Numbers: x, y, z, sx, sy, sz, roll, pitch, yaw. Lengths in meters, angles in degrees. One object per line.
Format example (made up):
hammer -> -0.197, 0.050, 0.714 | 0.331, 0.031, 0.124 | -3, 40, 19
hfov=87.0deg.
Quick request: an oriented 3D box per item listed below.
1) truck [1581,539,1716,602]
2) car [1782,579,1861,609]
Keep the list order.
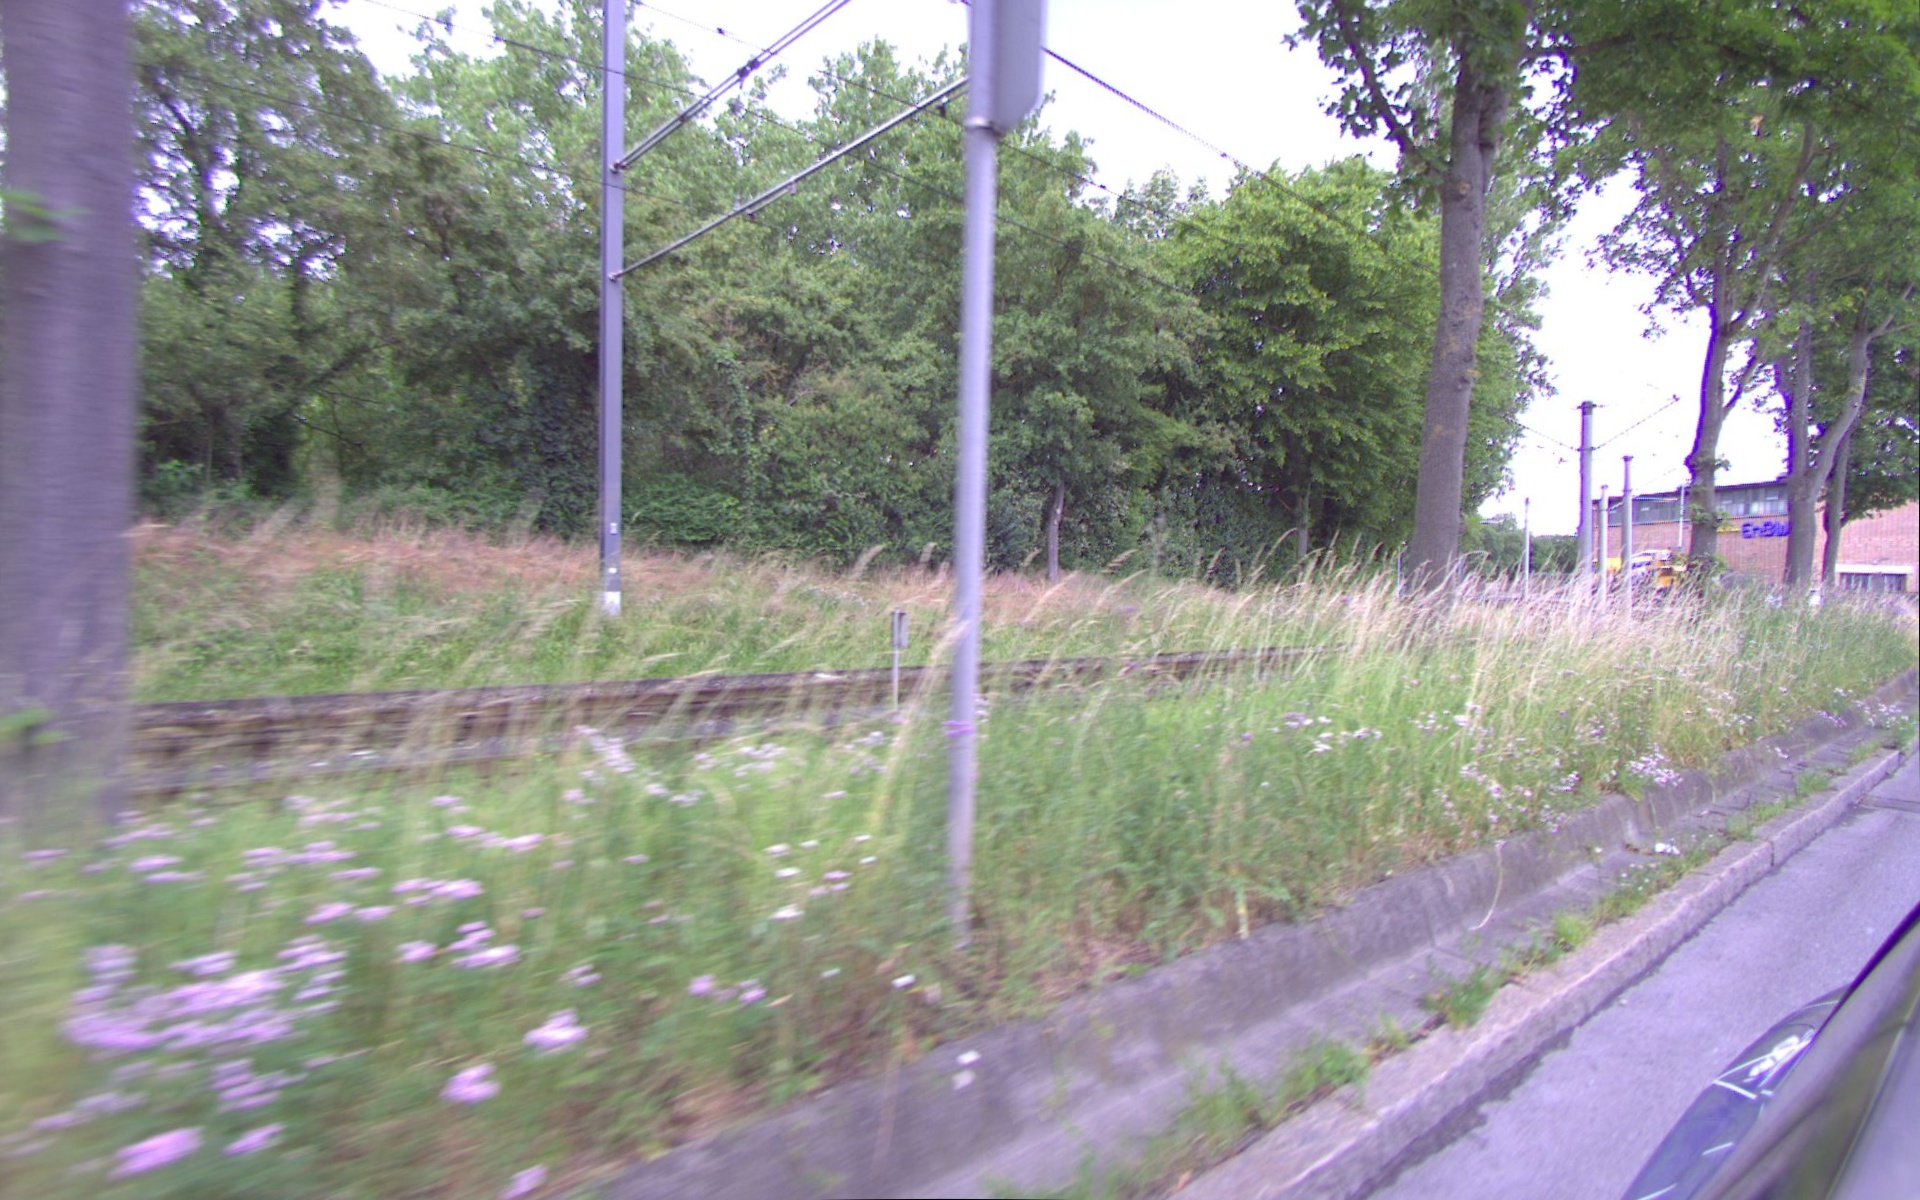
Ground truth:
truck -> 47.341, -1.931, 70.126 | 2.628, 3.988, 10.132 | -2, 0, 2
car -> 45.528, -0.322, 53.564 | 1.727, 1.506, 3.638 | -1, 0, 14
